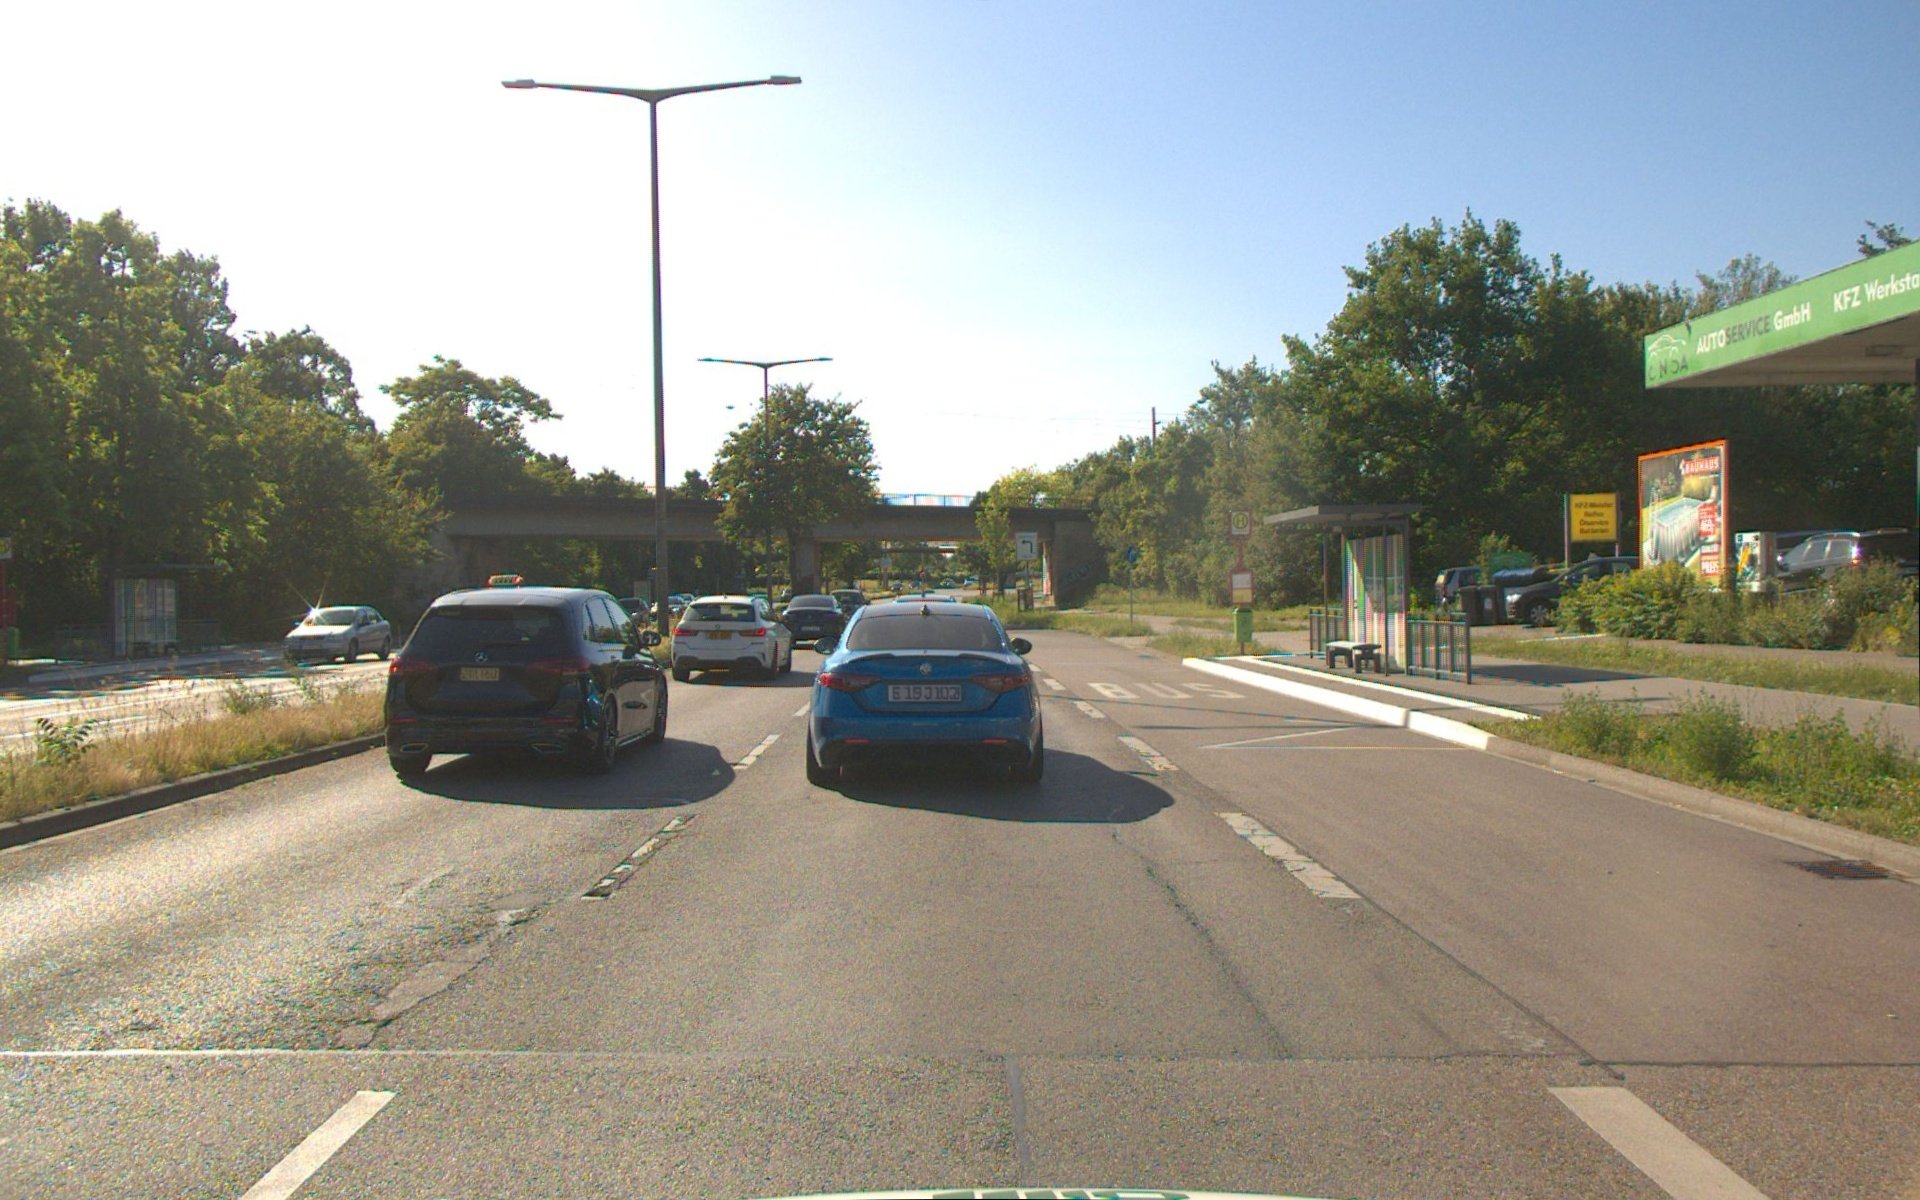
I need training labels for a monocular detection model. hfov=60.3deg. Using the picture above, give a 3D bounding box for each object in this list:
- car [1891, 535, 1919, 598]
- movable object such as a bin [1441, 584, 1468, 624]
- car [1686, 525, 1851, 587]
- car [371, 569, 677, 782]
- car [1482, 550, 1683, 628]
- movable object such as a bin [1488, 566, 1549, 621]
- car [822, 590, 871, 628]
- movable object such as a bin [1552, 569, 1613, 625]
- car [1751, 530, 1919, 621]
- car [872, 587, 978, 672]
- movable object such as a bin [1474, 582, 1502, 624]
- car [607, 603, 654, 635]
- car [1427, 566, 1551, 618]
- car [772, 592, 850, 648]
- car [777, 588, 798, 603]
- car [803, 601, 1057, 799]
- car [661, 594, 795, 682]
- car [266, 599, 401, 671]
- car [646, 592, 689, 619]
[{"bbox_3d":[25.253,-0.883,40.553,3.909,1.543,1.696,-2,0,-5],"label":"car"},{"bbox_3d":[13.679,0.118,45.767,0.577,1.093,0.502,-1,0,-43],"label":"movable object such as a bin"},{"bbox_3d":[23.807,-1.278,48.805,3.955,1.558,1.734,-3,0,0],"label":"car"},{"bbox_3d":[-3.710,0.585,14.813,1.673,1.626,4.223,0,0,-1],"label":"car"},{"bbox_3d":[15.658,-0.275,41.619,4.459,1.668,1.799,-4,0,29],"label":"car"},{"bbox_3d":[14.981,-0.169,44.386,0.981,1.453,1.240,-1,1,-43],"label":"movable object such as a bin"},{"bbox_3d":[-4.600,0.342,67.631,1.743,1.479,4.181,-1,0,-1],"label":"car"},{"bbox_3d":[16.403,-0.085,43.587,0.981,1.453,1.205,-1,0,-44],"label":"movable object such as a bin"},{"bbox_3d":[16.991,-0.467,31.615,1.709,1.600,4.248,-1,0,0],"label":"car"},{"bbox_3d":[-0.645,0.523,31.142,1.845,1.479,4.525,0,0,-1],"label":"car"},{"bbox_3d":[14.417,0.076,45.132,0.577,1.140,0.502,-1,0,-43],"label":"movable object such as a bin"},{"bbox_3d":[-16.914,0.960,84.978,1.608,1.476,4.110,-3,0,-1],"label":"car"},{"bbox_3d":[15.969,-0.238,50.026,3.216,1.512,1.772,0,0,0],"label":"car"},{"bbox_3d":[-4.127,0.532,46.410,1.845,1.479,4.525,0,0,-1],"label":"car"},{"bbox_3d":[-17.479,-0.453,167.629,1.779,1.467,4.088,-2,0,-1],"label":"car"},{"bbox_3d":[-0.249,0.734,14.186,1.845,1.431,4.223,0,0,-1],"label":"car"},{"bbox_3d":[-4.116,0.640,30.008,1.845,1.479,4.525,0,0,-1],"label":"car"},{"bbox_3d":[-16.320,0.876,43.317,1.953,1.713,4.176,-2,0,-1],"label":"car"},{"bbox_3d":[-17.429,0.315,98.722,1.781,1.460,4.629,-3,0,-1],"label":"car"}]
